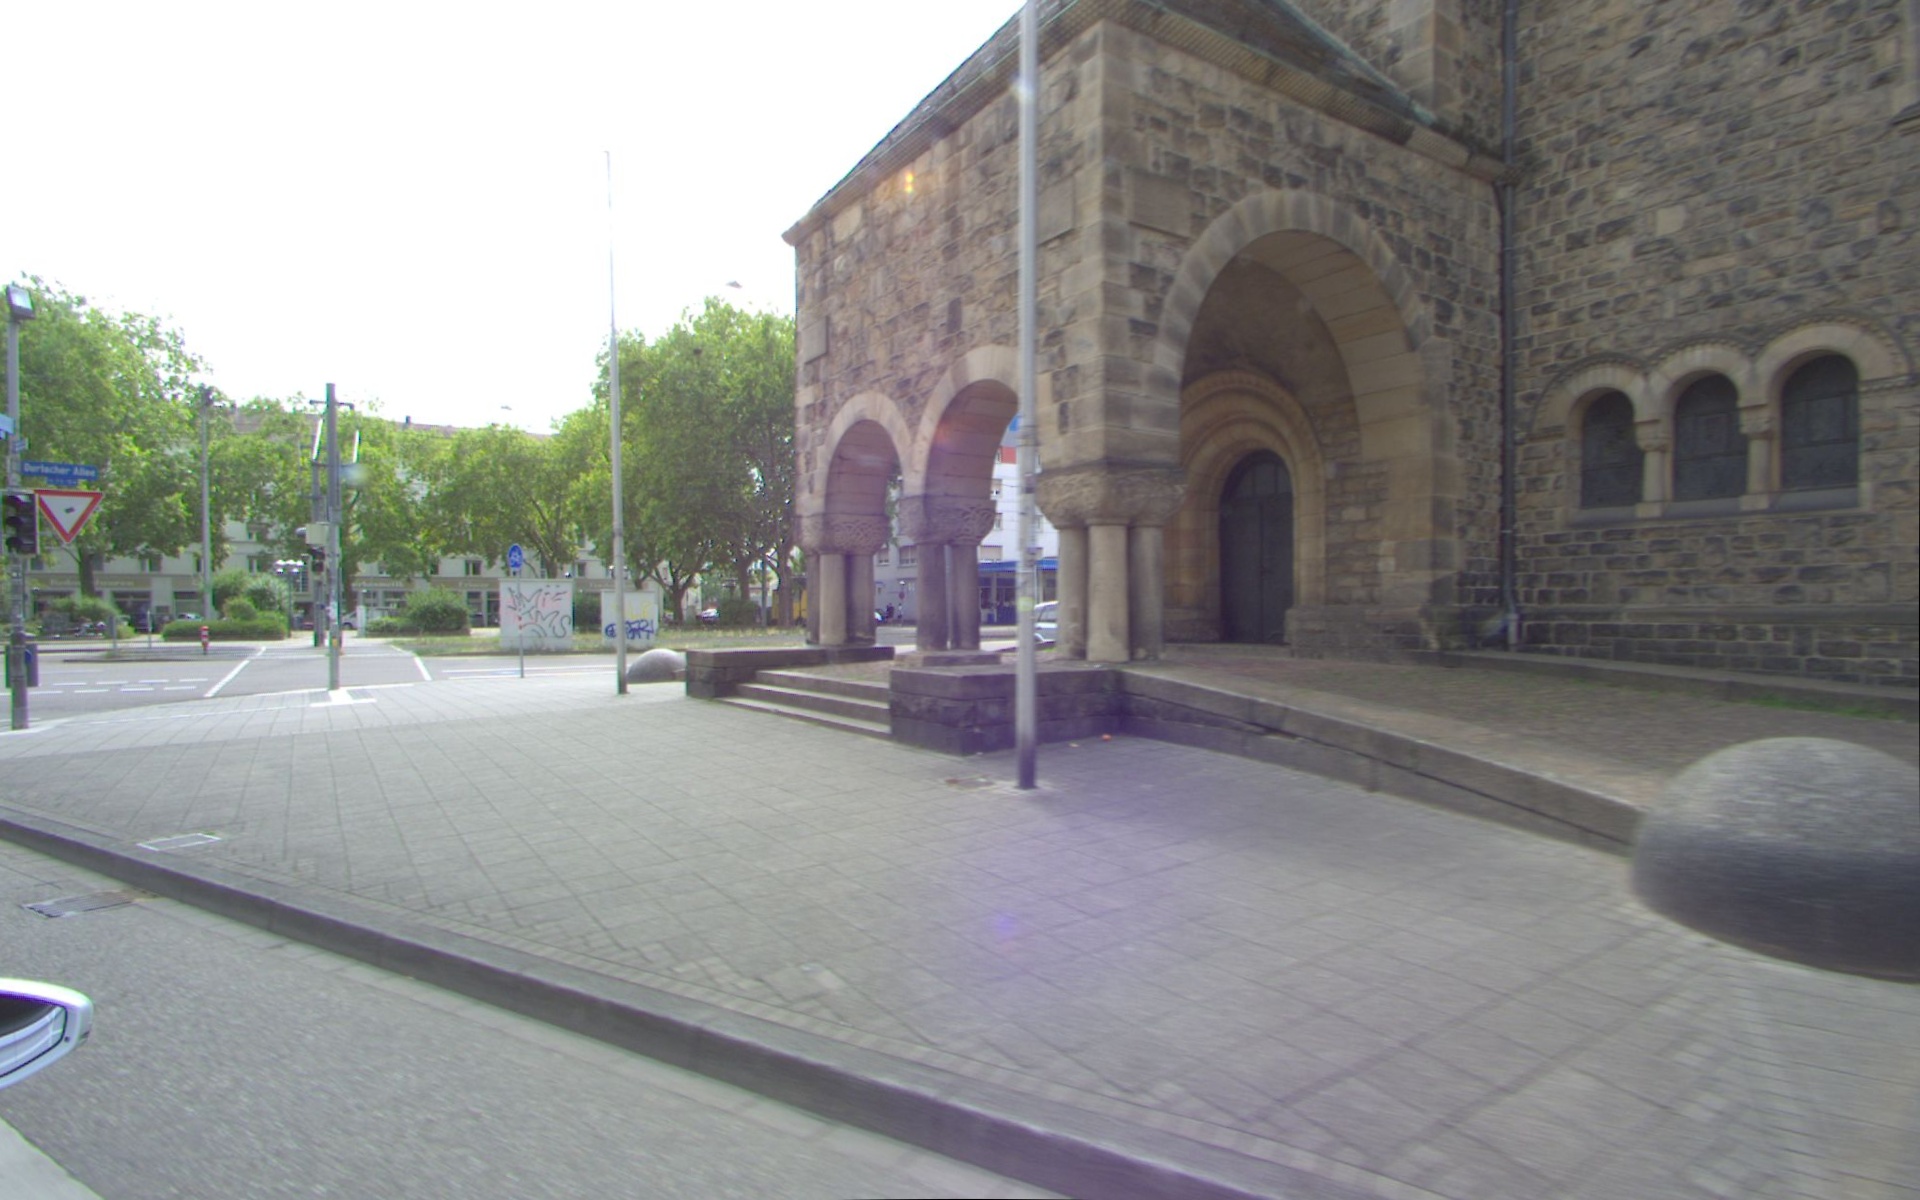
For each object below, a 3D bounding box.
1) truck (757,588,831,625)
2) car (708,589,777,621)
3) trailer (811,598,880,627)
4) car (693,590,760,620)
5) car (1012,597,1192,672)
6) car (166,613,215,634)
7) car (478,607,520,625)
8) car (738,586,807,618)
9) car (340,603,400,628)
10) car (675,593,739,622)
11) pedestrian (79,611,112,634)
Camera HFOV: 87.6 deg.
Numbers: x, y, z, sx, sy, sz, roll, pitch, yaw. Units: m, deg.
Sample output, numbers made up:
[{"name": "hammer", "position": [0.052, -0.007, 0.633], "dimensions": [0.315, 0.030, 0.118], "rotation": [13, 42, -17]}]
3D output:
[{"name": "truck", "position": [-12.461, 0.495, 74.589], "dimensions": [3.040, 2.612, 6.468], "rotation": [0, 0, -34]}, {"name": "car", "position": [-18.902, 0.452, 87.103], "dimensions": [5.269, 2.618, 2.482], "rotation": [0, -1, -36]}, {"name": "trailer", "position": [-7.853, 0.843, 68.671], "dimensions": [4.377, 1.951, 1.843], "rotation": [0, 0, -33]}, {"name": "car", "position": [-20.809, 0.450, 89.328], "dimensions": [5.269, 2.618, 2.482], "rotation": [0, -1, -36]}, {"name": "car", "position": [3.178, 0.744, 23.125], "dimensions": [1.992, 1.563, 4.002], "rotation": [0, 0, -33]}, {"name": "car", "position": [-58.556, 1.761, 76.189], "dimensions": [3.949, 1.523, 1.986], "rotation": [0, 0, 37]}, {"name": "car", "position": [-40.835, 1.397, 88.638], "dimensions": [3.949, 1.523, 1.760], "rotation": [0, 0, 37]}, {"name": "car", "position": [-15.685, 0.173, 83.810], "dimensions": [5.269, 2.618, 2.165], "rotation": [0, -1, -36]}, {"name": "car", "position": [-46.098, 1.171, 78.298], "dimensions": [3.947, 1.908, 1.845], "rotation": [0, 0, -34]}, {"name": "car", "position": [-23.614, 0.725, 93.591], "dimensions": [5.269, 2.618, 2.482], "rotation": [0, -1, -36]}, {"name": "pedestrian", "position": [-49.600, 1.304, 57.451], "dimensions": [1.422, 1.252, 1.087], "rotation": [-1, 1, 37]}]
